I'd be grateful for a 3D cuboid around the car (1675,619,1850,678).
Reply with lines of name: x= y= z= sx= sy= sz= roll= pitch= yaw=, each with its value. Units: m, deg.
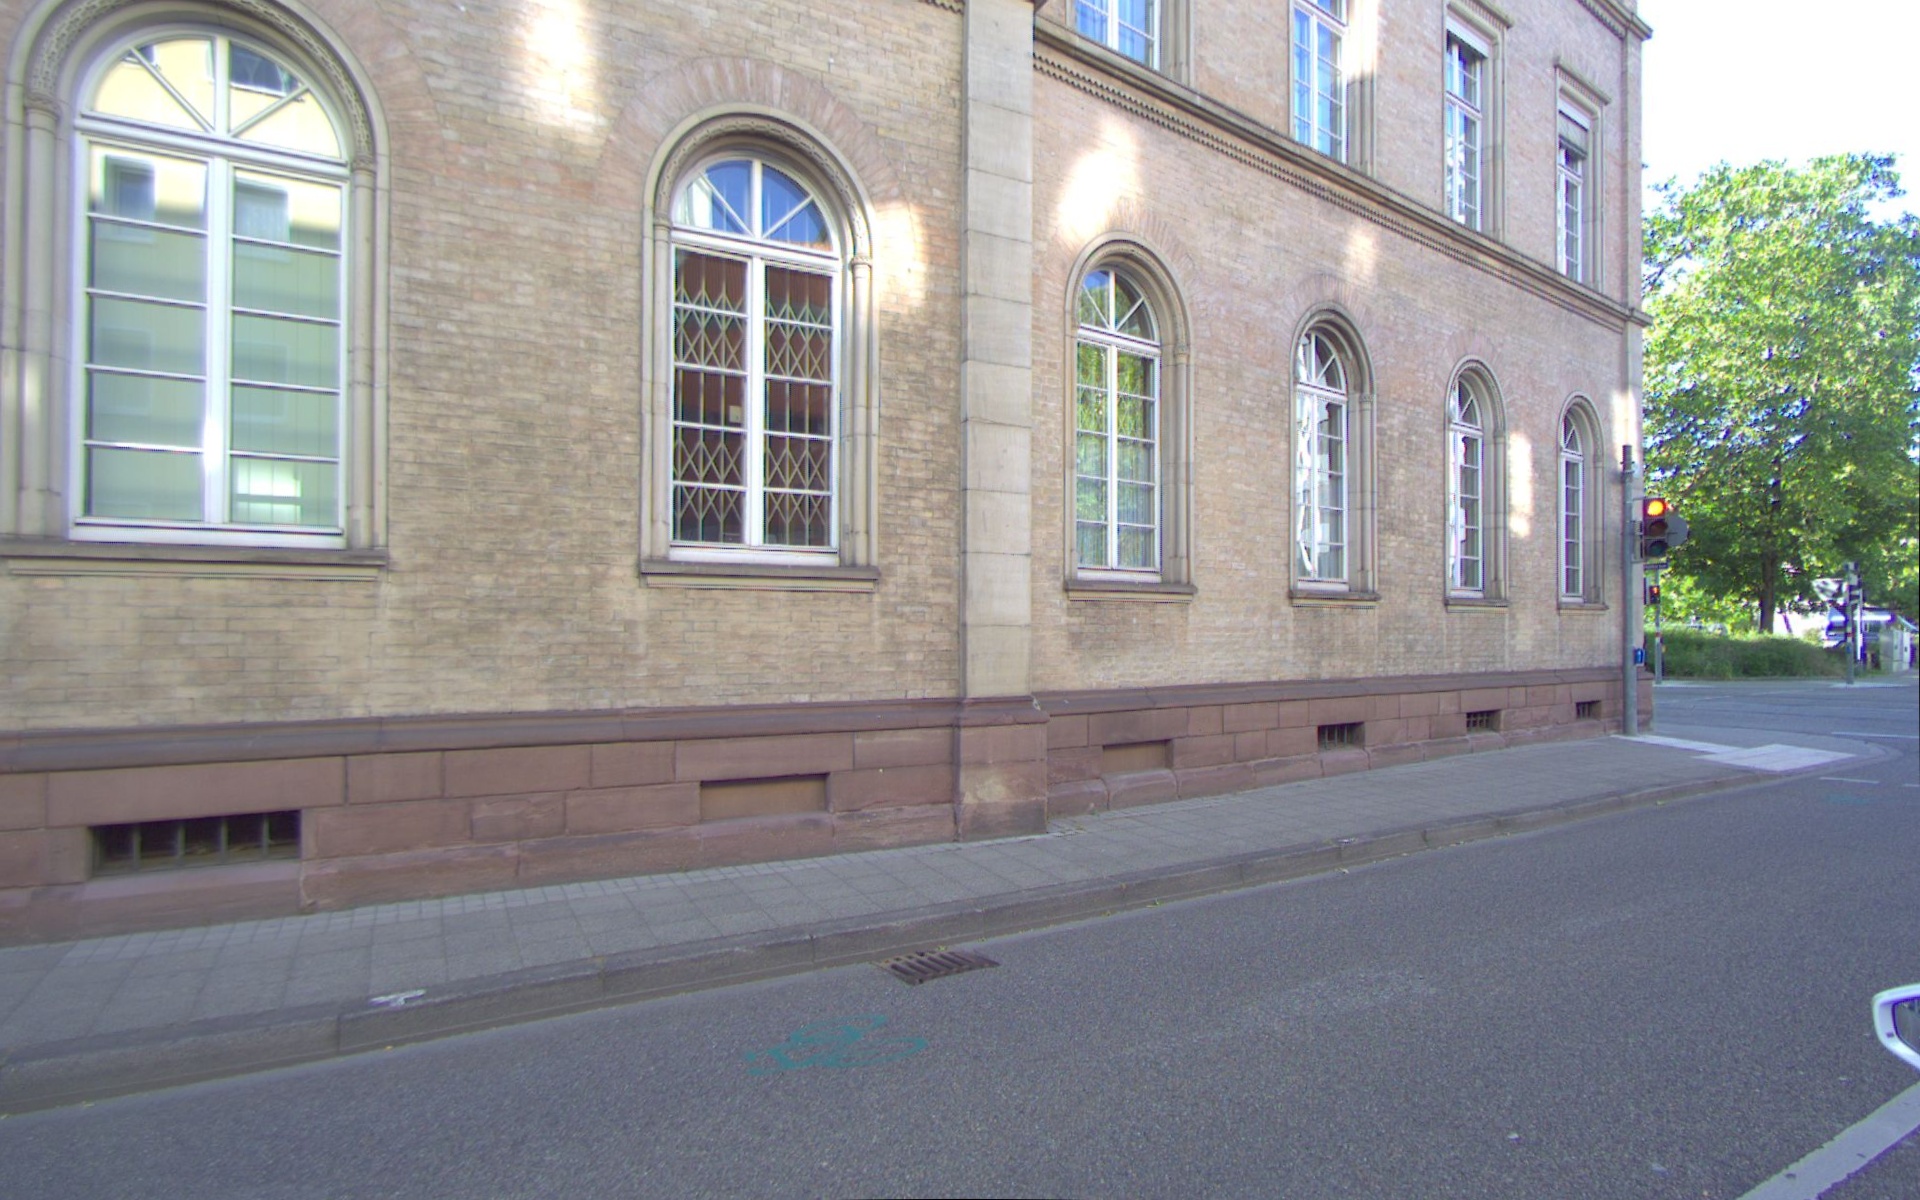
car: x=26.336 y=1.551 z=33.101 sx=1.888 sy=1.801 sz=4.193 roll=1 pitch=-2 yaw=-37
